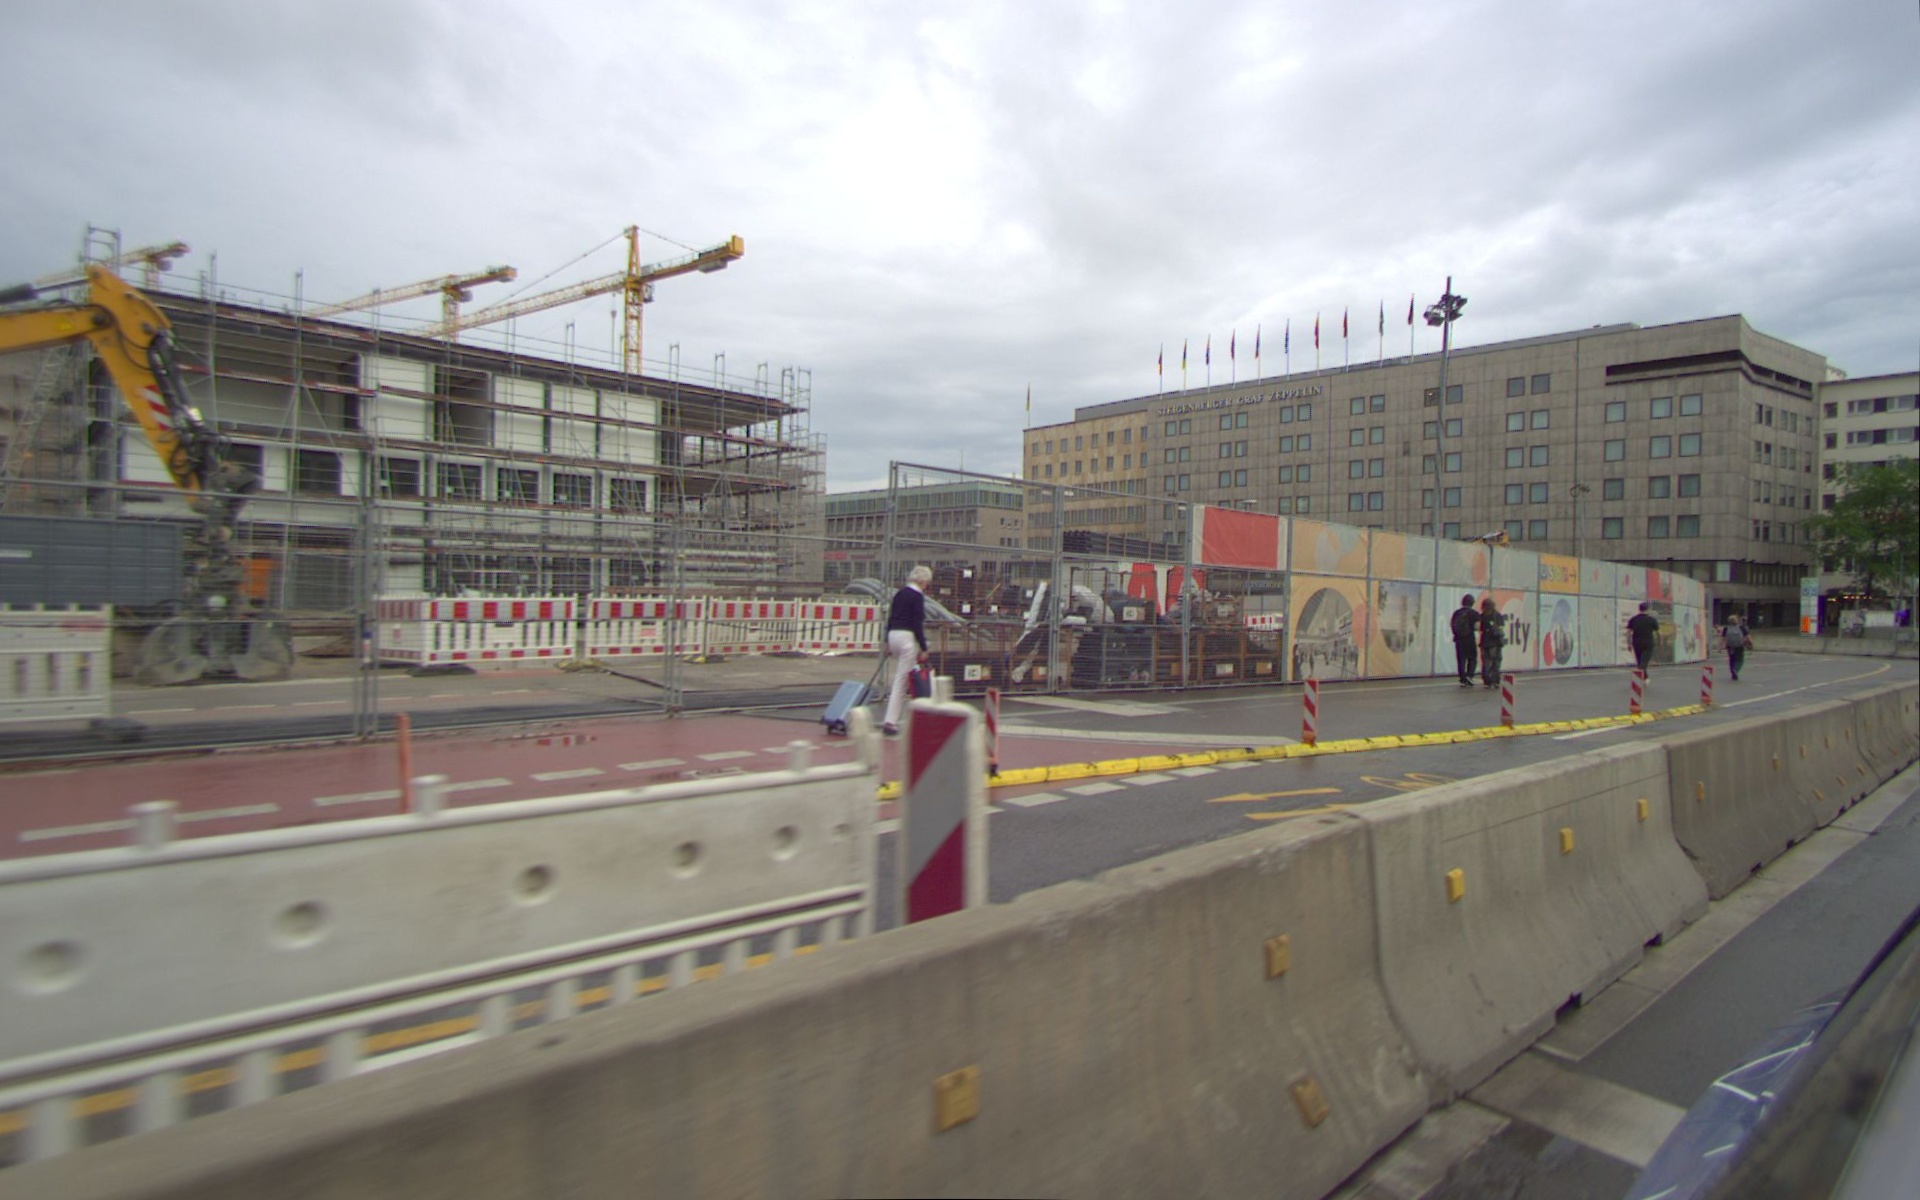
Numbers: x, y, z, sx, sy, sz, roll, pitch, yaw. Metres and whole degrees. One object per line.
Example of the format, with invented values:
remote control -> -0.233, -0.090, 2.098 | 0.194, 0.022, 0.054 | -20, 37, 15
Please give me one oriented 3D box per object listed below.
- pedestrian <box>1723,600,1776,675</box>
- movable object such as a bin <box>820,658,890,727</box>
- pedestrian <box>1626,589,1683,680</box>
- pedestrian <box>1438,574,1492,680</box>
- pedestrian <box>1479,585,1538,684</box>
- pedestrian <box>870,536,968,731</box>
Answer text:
pedestrian -> 20.248, 0.946, 25.972 | 0.674, 1.857, 0.927 | 2, 0, -39
movable object such as a bin -> -1.057, 0.924, 10.206 | 0.433, 0.632, 0.526 | 1, -1, 45
pedestrian -> 14.998, 0.722, 21.871 | 0.805, 1.901, 0.798 | 2, 0, -40
pedestrian -> 10.028, 0.534, 20.097 | 0.674, 2.039, 0.680 | 4, -1, -40
pedestrian -> 10.603, 0.642, 19.574 | 0.615, 1.857, 0.798 | 2, 0, -39
pedestrian -> -0.416, 0.326, 10.255 | 0.665, 1.885, 0.672 | 1, -1, 45
